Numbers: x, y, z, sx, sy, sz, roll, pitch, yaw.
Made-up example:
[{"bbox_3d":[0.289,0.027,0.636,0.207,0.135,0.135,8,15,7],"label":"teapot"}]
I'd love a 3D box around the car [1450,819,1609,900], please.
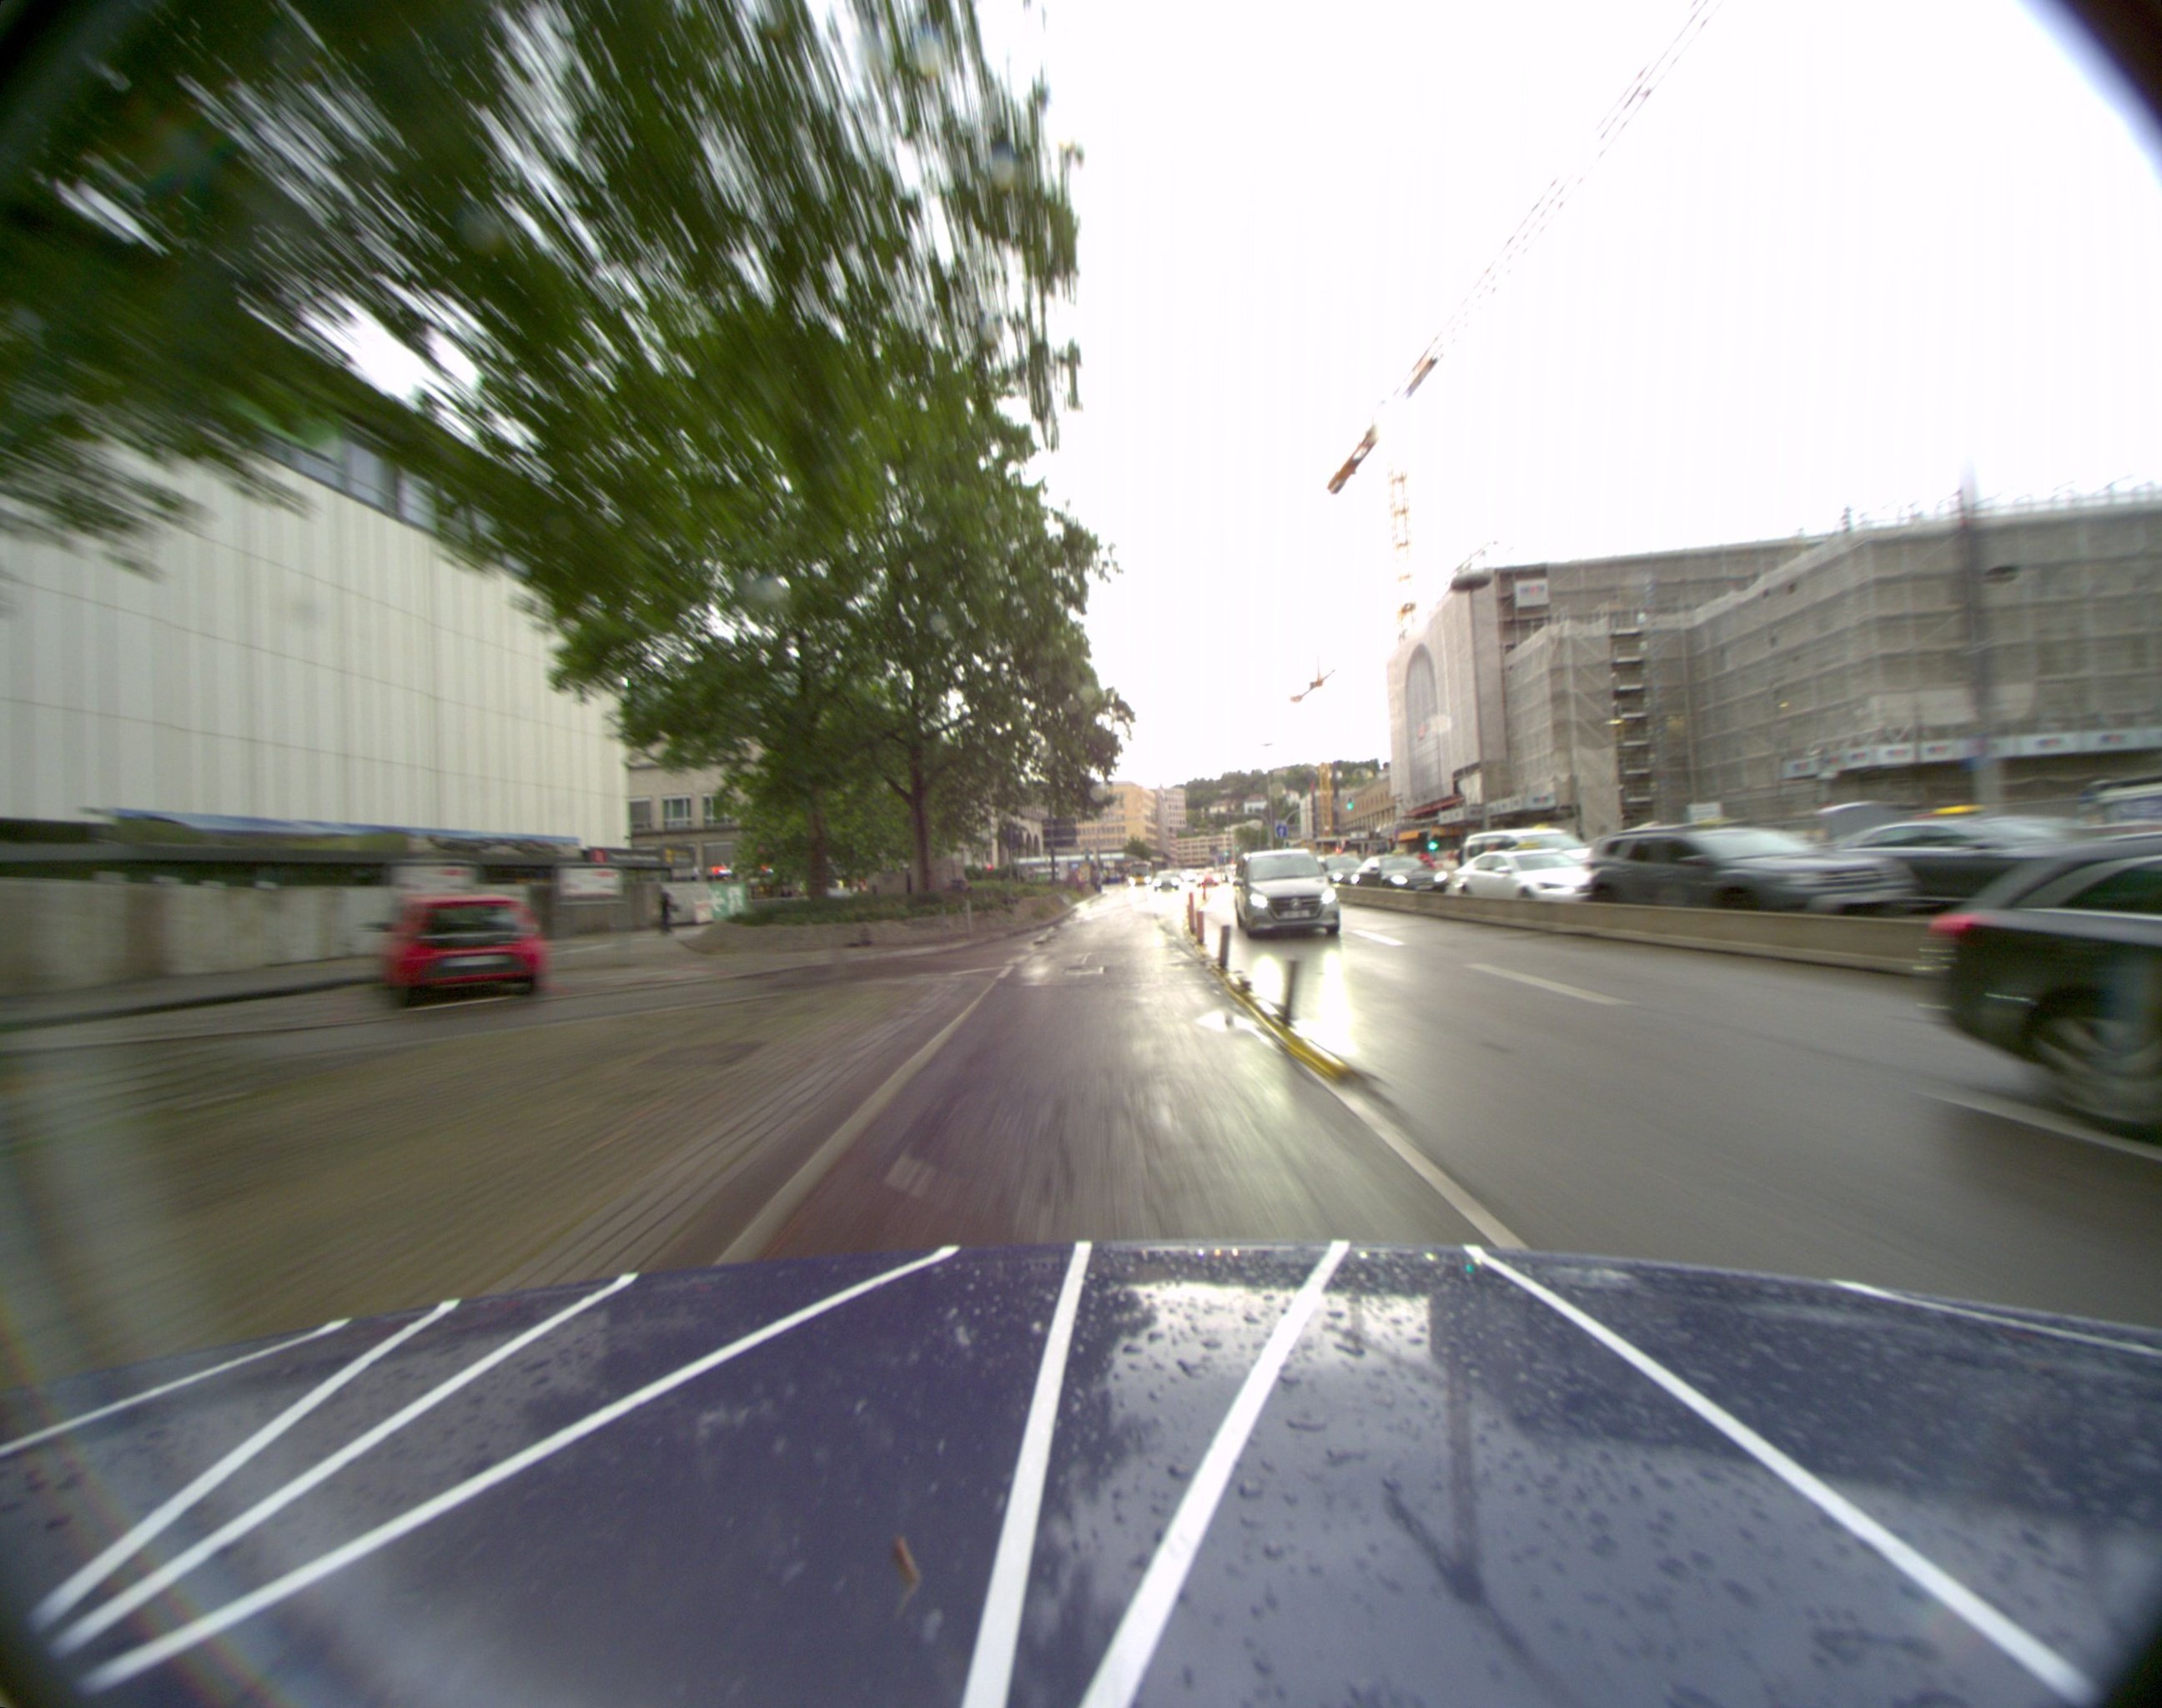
[{"bbox_3d":[13.678,0.169,23.621,2.003,2.194,4.998,-2,0,1],"label":"car"}]

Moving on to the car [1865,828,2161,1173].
[{"bbox_3d":[5.557,0.606,2.074,1.812,1.455,4.920,-4,-1,2],"label":"car"}]

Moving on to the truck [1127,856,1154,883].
[{"bbox_3d":[8.022,1.994,103.163,3.044,3.395,8.955,-2,0,2],"label":"truck"}]

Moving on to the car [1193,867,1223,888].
[{"bbox_3d":[10.549,1.940,63.285,1.814,1.529,4.250,-2,0,2],"label":"car"}]

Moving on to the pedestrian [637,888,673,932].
[{"bbox_3d":[-14.930,1.958,26.653,0.678,1.484,0.836,-2,0,6],"label":"pedestrian"}]

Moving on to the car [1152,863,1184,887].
[{"bbox_3d":[6.730,1.578,59.078,1.998,1.753,4.000,-2,0,1],"label":"car"}]

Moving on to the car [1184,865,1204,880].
[{"bbox_3d":[13.232,2.121,89.220,1.764,1.698,4.000,-2,0,1],"label":"car"}]

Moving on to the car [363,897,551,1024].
[{"bbox_3d":[-9.522,1.449,11.478,3.989,1.447,1.705,-2,0,44],"label":"car"}]

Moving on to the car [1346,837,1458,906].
[{"bbox_3d":[10.916,0.575,26.249,1.998,2.101,4.715,-2,0,2],"label":"car"}]

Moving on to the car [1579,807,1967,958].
[{"bbox_3d":[10.006,0.370,11.594,1.998,1.803,4.293,-2,0,1],"label":"car"}]

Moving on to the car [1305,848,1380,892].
[{"bbox_3d":[11.090,0.637,32.519,1.997,1.706,4.757,-2,0,6],"label":"car"}]

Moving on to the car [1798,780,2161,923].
[{"bbox_3d":[13.285,-0.037,10.804,1.832,1.643,4.574,-2,0,0],"label":"car"}]

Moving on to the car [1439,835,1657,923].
[{"bbox_3d":[10.182,0.525,17.130,1.998,1.644,4.902,-2,-1,2],"label":"car"}]

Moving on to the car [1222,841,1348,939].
[{"bbox_3d":[4.584,0.764,17.937,1.998,1.845,5.361,-4,-1,6],"label":"car"}]

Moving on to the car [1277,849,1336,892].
[{"bbox_3d":[11.299,0.809,38.356,1.998,2.002,4.002,-2,0,5],"label":"car"}]
